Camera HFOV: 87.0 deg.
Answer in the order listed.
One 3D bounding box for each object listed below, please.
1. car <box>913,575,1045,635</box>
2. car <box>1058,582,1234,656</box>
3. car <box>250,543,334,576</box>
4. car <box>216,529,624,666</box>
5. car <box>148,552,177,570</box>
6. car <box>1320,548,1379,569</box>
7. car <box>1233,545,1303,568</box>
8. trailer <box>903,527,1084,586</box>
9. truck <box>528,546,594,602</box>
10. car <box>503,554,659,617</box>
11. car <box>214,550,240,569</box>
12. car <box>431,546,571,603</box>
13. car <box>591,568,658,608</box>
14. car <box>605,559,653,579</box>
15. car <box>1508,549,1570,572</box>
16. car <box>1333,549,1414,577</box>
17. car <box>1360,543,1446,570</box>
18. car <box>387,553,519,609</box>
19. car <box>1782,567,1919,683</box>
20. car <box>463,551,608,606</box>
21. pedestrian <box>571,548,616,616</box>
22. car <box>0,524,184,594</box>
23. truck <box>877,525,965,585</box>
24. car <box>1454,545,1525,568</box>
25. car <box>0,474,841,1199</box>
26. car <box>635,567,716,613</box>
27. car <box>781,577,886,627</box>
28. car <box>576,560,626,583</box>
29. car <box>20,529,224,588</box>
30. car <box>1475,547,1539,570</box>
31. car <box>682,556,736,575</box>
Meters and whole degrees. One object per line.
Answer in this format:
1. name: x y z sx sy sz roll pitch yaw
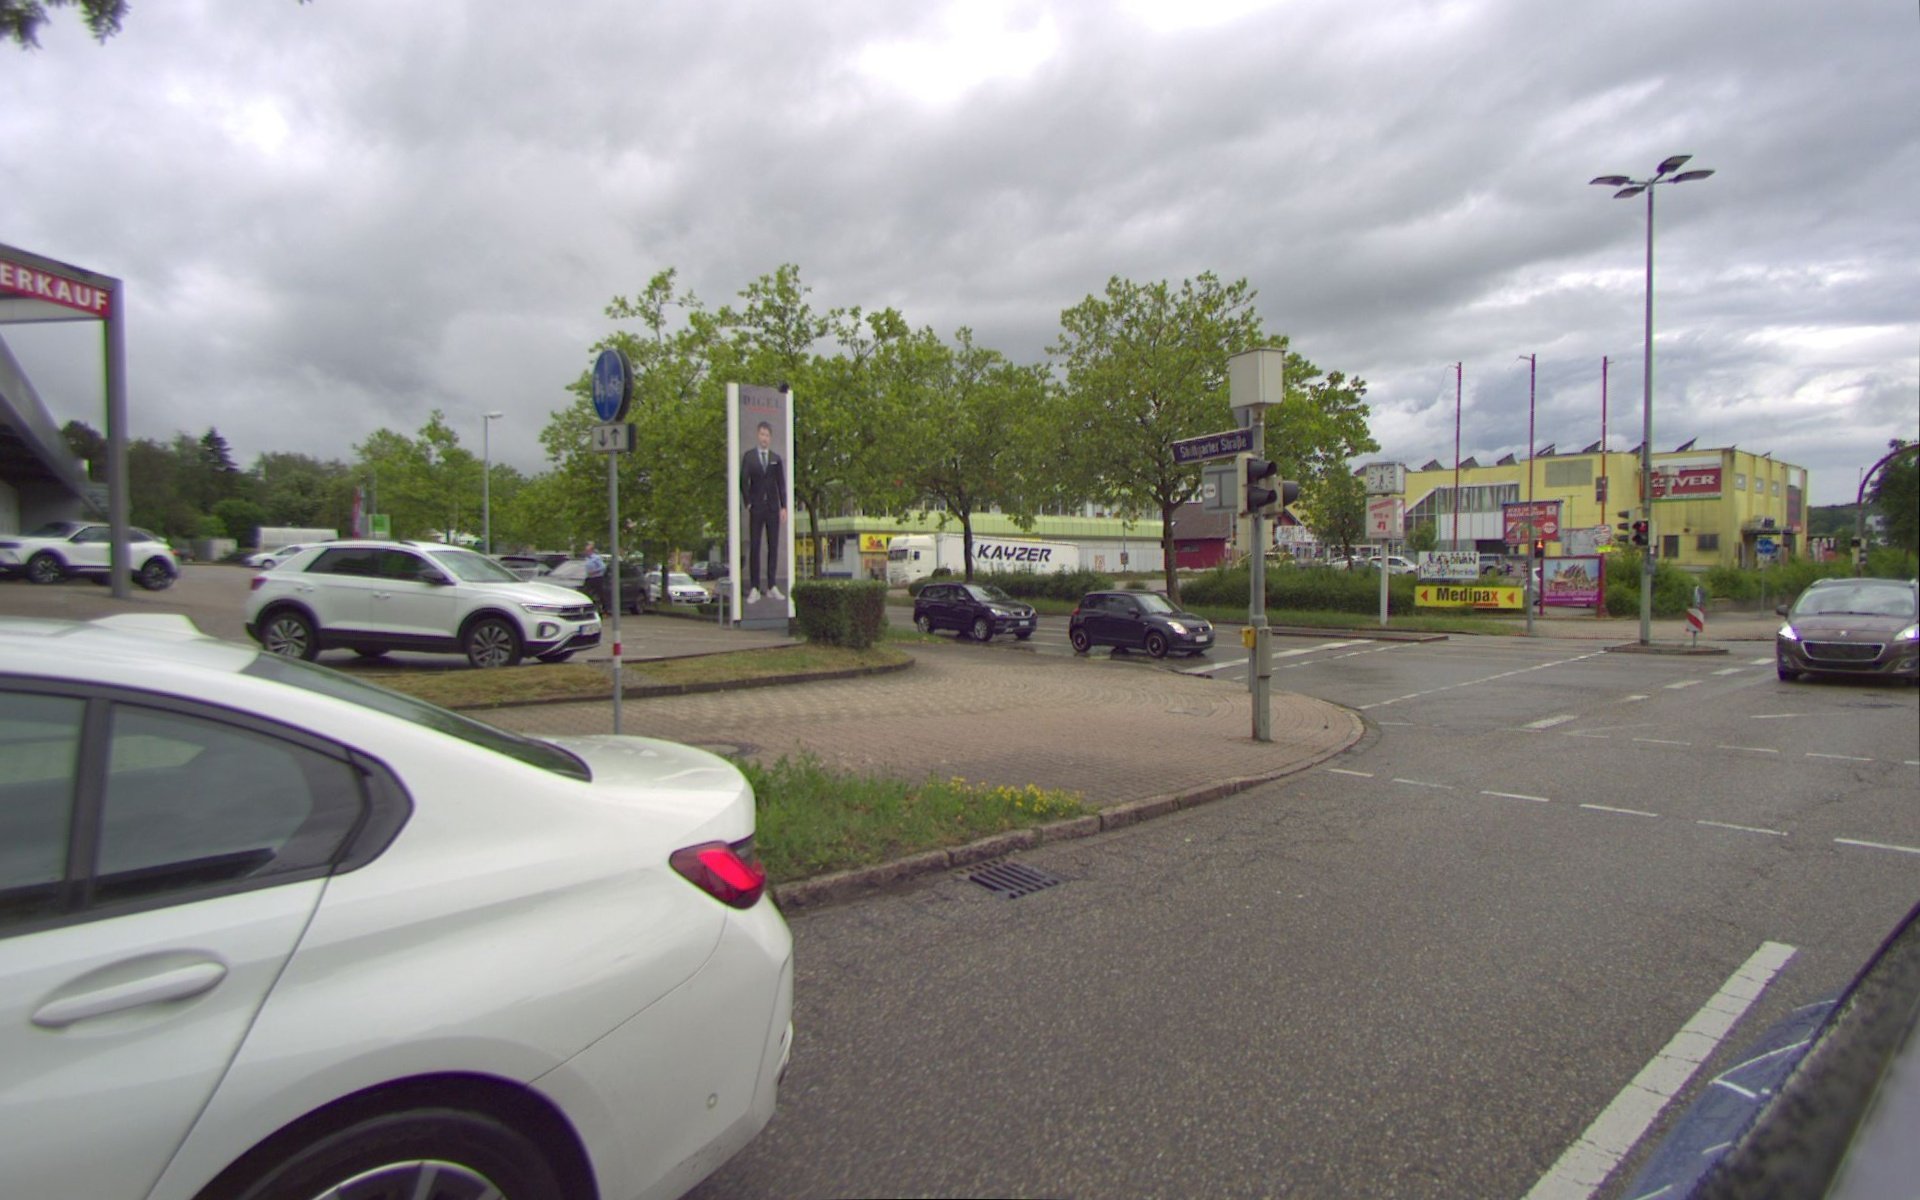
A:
1. car: 0.469 0.122 29.325 1.705 1.567 4.154 -2 1 -34
2. car: 4.396 0.375 24.419 1.785 1.507 3.989 -2 3 -39
3. car: -38.808 -2.329 58.807 3.928 1.816 1.999 -1 2 -39
4. car: -6.711 -0.063 12.917 4.208 1.596 1.932 0 2 2
5. car: -79.209 -3.851 100.541 1.779 1.618 4.003 0 1 -31
6. car: 33.966 -3.603 88.259 1.965 1.760 4.378 -1 2 -41
7. car: 24.799 -3.484 81.591 2.340 1.801 4.977 -1 2 -41
8. trailer: 2.692 -2.942 72.442 14.548 3.763 3.158 0 -1 -40
9. truck: -18.979 -1.287 48.041 1.785 2.515 3.989 -2 3 -39
10. car: -9.970 -0.430 27.110 1.965 1.504 5.004 1 2 5
11. car: -78.251 -4.304 108.078 1.961 1.867 4.003 0 1 -31
12. car: -14.373 -0.801 31.987 1.968 1.599 4.216 -2 1 10
13. car: -16.332 -0.616 49.223 1.785 1.762 3.989 -2 3 -39
14. car: -24.466 -2.274 74.702 1.965 1.460 3.994 -1 2 -41
15. car: 47.163 -3.183 82.442 1.965 1.801 3.994 -1 2 -41
16. car: 27.329 -2.432 67.055 1.965 1.801 4.574 -1 2 -41
17. car: 30.919 -2.995 70.716 2.340 1.801 4.977 -1 2 -41
18. car: -18.453 -0.699 37.105 1.965 1.814 4.922 -2 1 6
19. car: 14.970 0.296 16.420 4.392 1.644 1.730 -2 2 -40
20. car: -12.249 -0.629 29.522 1.951 1.396 4.143 -2 1 10
21. pedestrian: -9.004 -0.454 24.869 0.791 1.634 0.718 1 1 25
22. car: -20.959 -0.956 23.911 1.710 1.499 4.144 1 2 9
23. truck: -2.624 -2.933 68.003 5.044 3.764 3.158 0 -1 -40
24. car: 40.468 -3.310 77.406 1.965 1.760 4.378 -1 2 -41
25. car: -2.547 0.648 1.355 4.542 1.564 1.803 -2 0 -42
26. car: -12.662 -0.483 44.893 1.890 1.861 4.338 -2 3 -39
27. car: -4.437 0.022 35.041 1.785 1.507 3.989 -2 3 -39
28. car: -25.194 -2.028 70.934 1.965 1.549 3.994 -1 2 -41
29. car: -22.839 -1.131 27.802 1.712 1.499 4.138 1 2 13
30. car: 42.889 -3.237 79.346 1.965 1.801 3.994 -1 2 -41
31. car: -19.518 -2.683 78.709 1.981 1.460 3.962 1 2 27
